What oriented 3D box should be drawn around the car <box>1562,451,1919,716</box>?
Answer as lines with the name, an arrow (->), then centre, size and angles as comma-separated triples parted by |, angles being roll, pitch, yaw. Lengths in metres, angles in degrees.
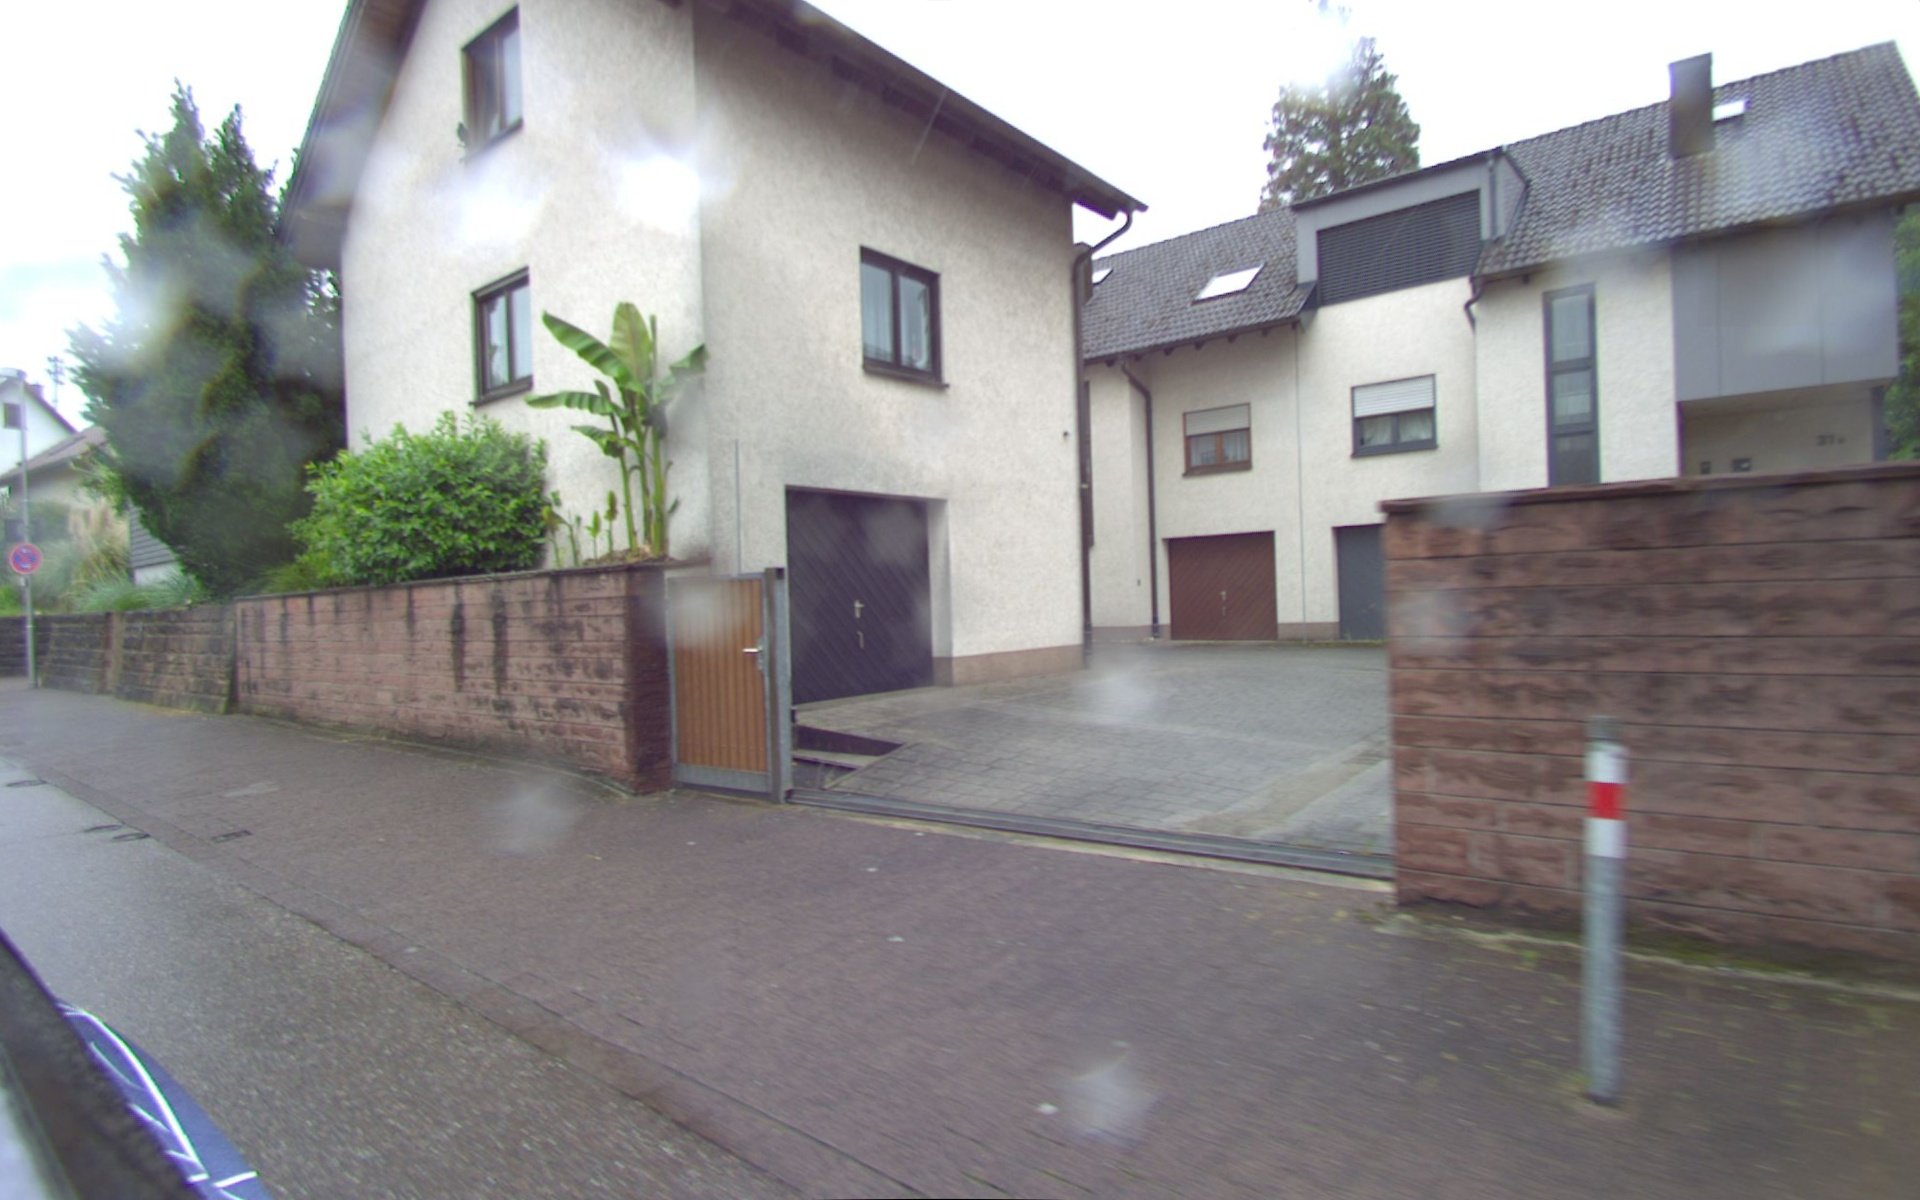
car -> 7.013, -0.143, 7.316 | 4.297, 1.729, 1.968 | -5, -2, 37
